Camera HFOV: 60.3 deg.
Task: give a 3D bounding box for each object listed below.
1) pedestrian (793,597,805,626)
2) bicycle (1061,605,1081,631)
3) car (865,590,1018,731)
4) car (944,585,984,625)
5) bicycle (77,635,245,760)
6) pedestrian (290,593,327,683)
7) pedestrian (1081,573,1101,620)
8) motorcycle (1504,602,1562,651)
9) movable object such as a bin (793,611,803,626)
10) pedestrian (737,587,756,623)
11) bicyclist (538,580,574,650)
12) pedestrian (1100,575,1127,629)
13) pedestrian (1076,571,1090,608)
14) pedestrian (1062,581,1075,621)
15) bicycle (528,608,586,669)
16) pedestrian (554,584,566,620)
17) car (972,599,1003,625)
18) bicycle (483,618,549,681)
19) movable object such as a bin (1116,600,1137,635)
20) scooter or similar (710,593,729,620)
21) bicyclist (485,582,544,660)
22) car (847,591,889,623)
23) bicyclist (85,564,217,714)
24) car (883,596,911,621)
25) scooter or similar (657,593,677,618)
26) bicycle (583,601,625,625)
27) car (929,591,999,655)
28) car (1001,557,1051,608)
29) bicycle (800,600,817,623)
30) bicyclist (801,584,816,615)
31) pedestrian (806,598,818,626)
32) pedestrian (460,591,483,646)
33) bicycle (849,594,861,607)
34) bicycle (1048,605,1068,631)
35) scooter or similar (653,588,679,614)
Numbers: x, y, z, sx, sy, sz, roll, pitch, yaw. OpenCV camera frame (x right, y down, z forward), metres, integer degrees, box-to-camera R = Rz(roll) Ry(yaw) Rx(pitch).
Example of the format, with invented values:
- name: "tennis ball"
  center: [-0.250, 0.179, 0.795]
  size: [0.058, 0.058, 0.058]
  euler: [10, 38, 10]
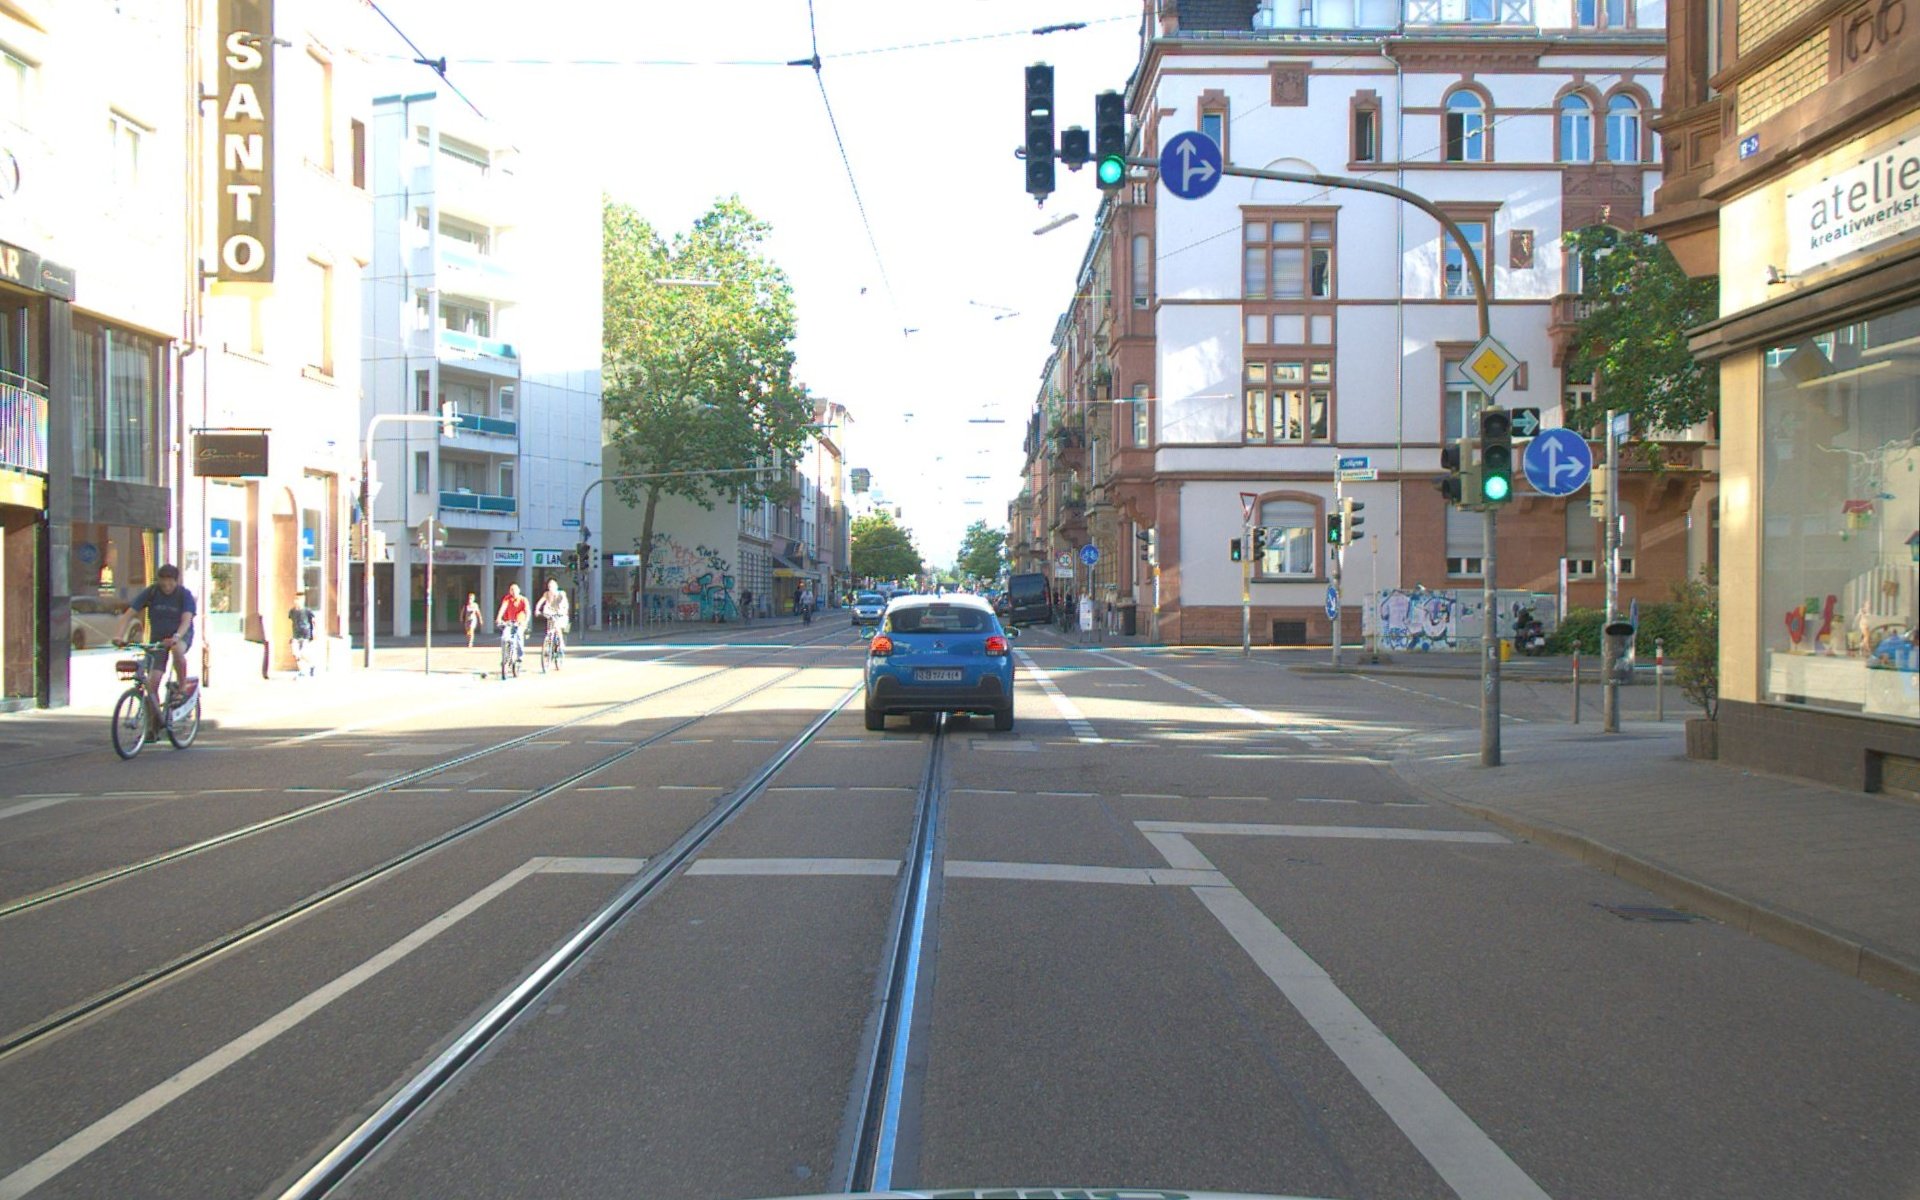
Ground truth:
- name: "pedestrian"
  center: [-10.137, 0.734, 104.045]
  size: [0.696, 1.795, 0.570]
  euler: [0, 0, -2]
- name: "bicycle"
  center: [4.175, 0.668, 62.501]
  size: [0.423, 0.964, 1.761]
  euler: [0, 0, -7]
- name: "car"
  center: [-0.314, 0.635, 19.690]
  size: [1.640, 1.503, 3.997]
  euler: [0, 0, -3]
- name: "car"
  center: [0.191, 0.247, 86.709]
  size: [1.953, 2.049, 3.999]
  euler: [-1, 0, -1]
- name: "bicycle"
  center: [-7.873, 0.929, 16.414]
  size: [0.716, 1.107, 2.061]
  euler: [0, 0, -2]
- name: "pedestrian"
  center: [-10.481, 0.609, 26.627]
  size: [0.395, 1.435, 0.516]
  euler: [0, 0, -2]
- name: "pedestrian"
  center: [4.854, -0.117, 61.363]
  size: [0.615, 1.731, 0.681]
  euler: [0, 0, -9]
- name: "motorcycle"
  center: [14.421, 0.649, 41.685]
  size: [0.598, 1.144, 2.390]
  euler: [0, 1, -1]
- name: "movable object such as a bin"
  center: [-10.276, 1.152, 104.792]
  size: [0.598, 0.930, 0.695]
  euler: [-1, 0, -1]
- name: "pedestrian"
  center: [-10.655, 0.229, 82.646]
  size: [0.668, 1.796, 1.026]
  euler: [0, 0, 10]
- name: "bicyclist"
  center: [-8.158, 0.303, 33.413]
  size: [0.578, 1.400, 0.679]
  euler: [0, 0, -2]
- name: "pedestrian"
  center: [5.427, 0.070, 58.521]
  size: [0.691, 1.812, 0.672]
  euler: [-7, 0, -2]
- name: "pedestrian"
  center: [6.077, -0.514, 81.828]
  size: [0.542, 1.813, 0.606]
  euler: [4, 0, -2]
- name: "pedestrian"
  center: [5.612, 0.041, 85.570]
  size: [0.573, 2.049, 0.823]
  euler: [0, 0, -2]
- name: "bicycle"
  center: [-8.090, 0.777, 33.295]
  size: [0.716, 1.204, 2.061]
  euler: [0, -2, -2]
- name: "pedestrian"
  center: [-19.527, 0.092, 80.761]
  size: [0.446, 1.748, 0.547]
  euler: [-1, 0, -1]
- name: "car"
  center: [1.793, 0.781, 110.138]
  size: [1.964, 1.701, 4.805]
  euler: [-1, 0, 0]
- name: "bicycle"
  center: [-8.205, 0.897, 30.665]
  size: [0.716, 1.084, 2.061]
  euler: [0, 0, -2]
- name: "movable object such as a bin"
  center: [5.718, 0.604, 56.823]
  size: [0.652, 1.174, 0.594]
  euler: [0, 0, -4]
- name: "scooter or similar"
  center: [-11.992, 0.318, 82.557]
  size: [0.772, 1.294, 1.075]
  euler: [2, 2, -1]
- name: "bicyclist"
  center: [-8.209, 0.373, 30.537]
  size: [0.720, 1.405, 1.468]
  euler: [0, 0, -2]
- name: "car"
  center: [-4.513, 0.339, 81.725]
  size: [1.945, 1.528, 4.307]
  euler: [0, 0, -1]
- name: "bicyclist"
  center: [-7.885, 0.362, 16.173]
  size: [0.709, 1.405, 1.227]
  euler: [0, 0, -2]
- name: "car"
  center: [-4.581, 0.581, 120.874]
  size: [1.953, 1.774, 4.562]
  euler: [0, 0, -1]
- name: "scooter or similar"
  center: [-14.590, 0.289, 82.334]
  size: [0.921, 1.243, 0.765]
  euler: [0, 0, -13]
- name: "bicycle"
  center: [-16.088, 0.584, 74.766]
  size: [1.878, 1.052, 0.664]
  euler: [0, 0, 26]
- name: "car"
  center: [0.061, 0.532, 41.228]
  size: [1.633, 1.504, 3.999]
  euler: [-1, 0, -1]
- name: "car"
  center: [3.248, -0.862, 82.810]
  size: [2.225, 2.479, 5.719]
  euler: [0, 0, 0]
- name: "bicycle"
  center: [-7.477, 0.555, 81.613]
  size: [0.678, 1.140, 2.083]
  euler: [0, 0, -1]
- name: "bicyclist"
  center: [-7.482, -0.036, 81.635]
  size: [0.668, 1.509, 0.778]
  euler: [0, 0, -1]
- name: "pedestrian"
  center: [-9.388, 0.764, 105.012]
  size: [0.696, 1.795, 0.654]
  euler: [0, 0, -2]
- name: "pedestrian"
  center: [-14.113, 0.530, 47.807]
  size: [0.531, 1.579, 0.516]
  euler: [0, 0, -2]
- name: "bicycle"
  center: [-11.039, 0.027, 174.343]
  size: [1.099, 1.342, 3.640]
  euler: [0, 0, -6]
- name: "bicycle"
  center: [3.699, 0.668, 62.461]
  size: [0.423, 0.964, 1.761]
  euler: [0, 0, -7]
- name: "scooter or similar"
  center: [-14.450, 0.036, 81.182]
  size: [1.206, 1.280, 0.765]
  euler: [-1, 0, -13]
